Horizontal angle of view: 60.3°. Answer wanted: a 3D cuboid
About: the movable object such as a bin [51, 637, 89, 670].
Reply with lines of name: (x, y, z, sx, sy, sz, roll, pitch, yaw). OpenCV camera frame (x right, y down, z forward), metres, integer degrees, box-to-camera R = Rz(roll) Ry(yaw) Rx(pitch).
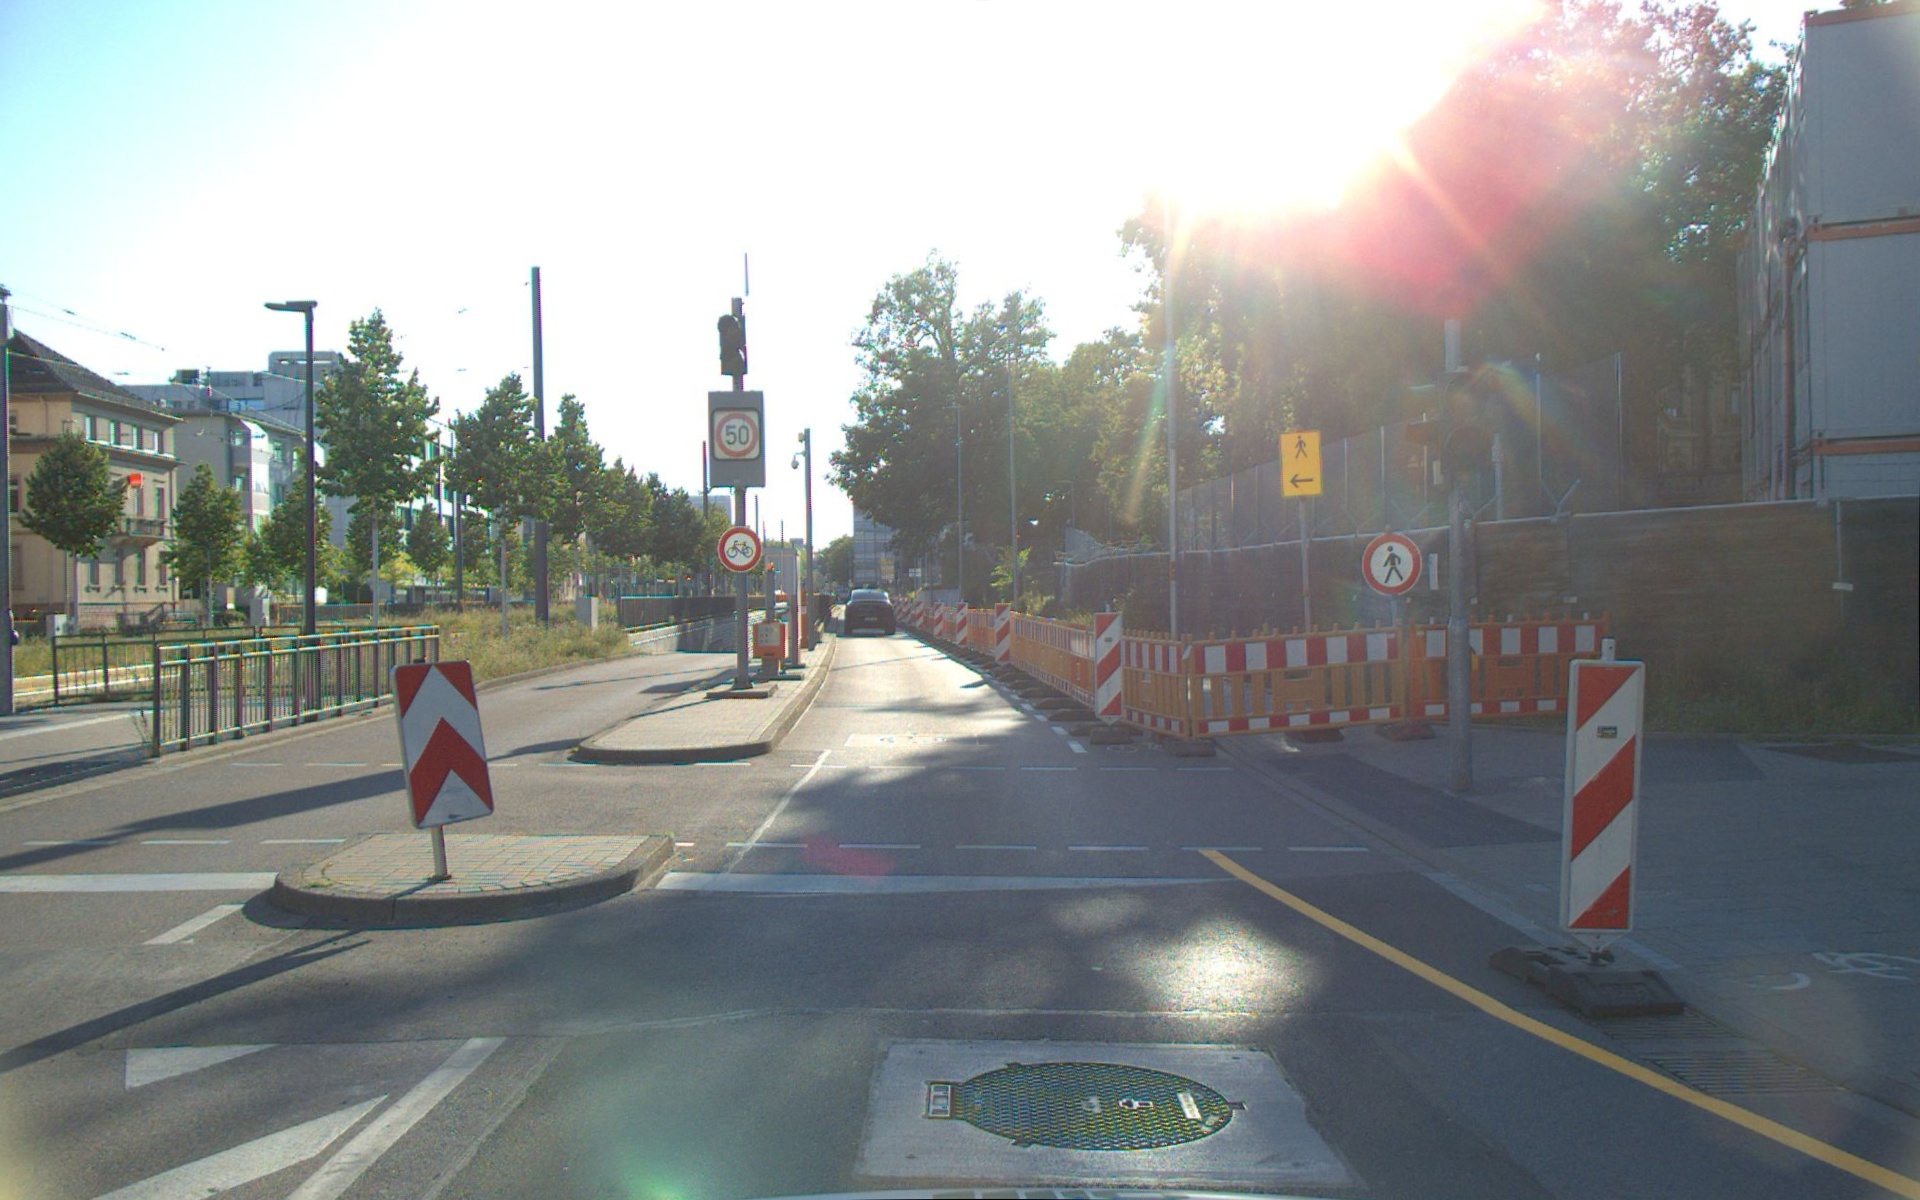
movable object such as a bin: (-41.566, 2.484, 77.275, 1.181, 1.454, 1.079, -1, 0, -4)

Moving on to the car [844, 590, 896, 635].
car: (-3.534, 0.490, 65.067, 1.965, 1.688, 3.997, 1, 0, -3)
